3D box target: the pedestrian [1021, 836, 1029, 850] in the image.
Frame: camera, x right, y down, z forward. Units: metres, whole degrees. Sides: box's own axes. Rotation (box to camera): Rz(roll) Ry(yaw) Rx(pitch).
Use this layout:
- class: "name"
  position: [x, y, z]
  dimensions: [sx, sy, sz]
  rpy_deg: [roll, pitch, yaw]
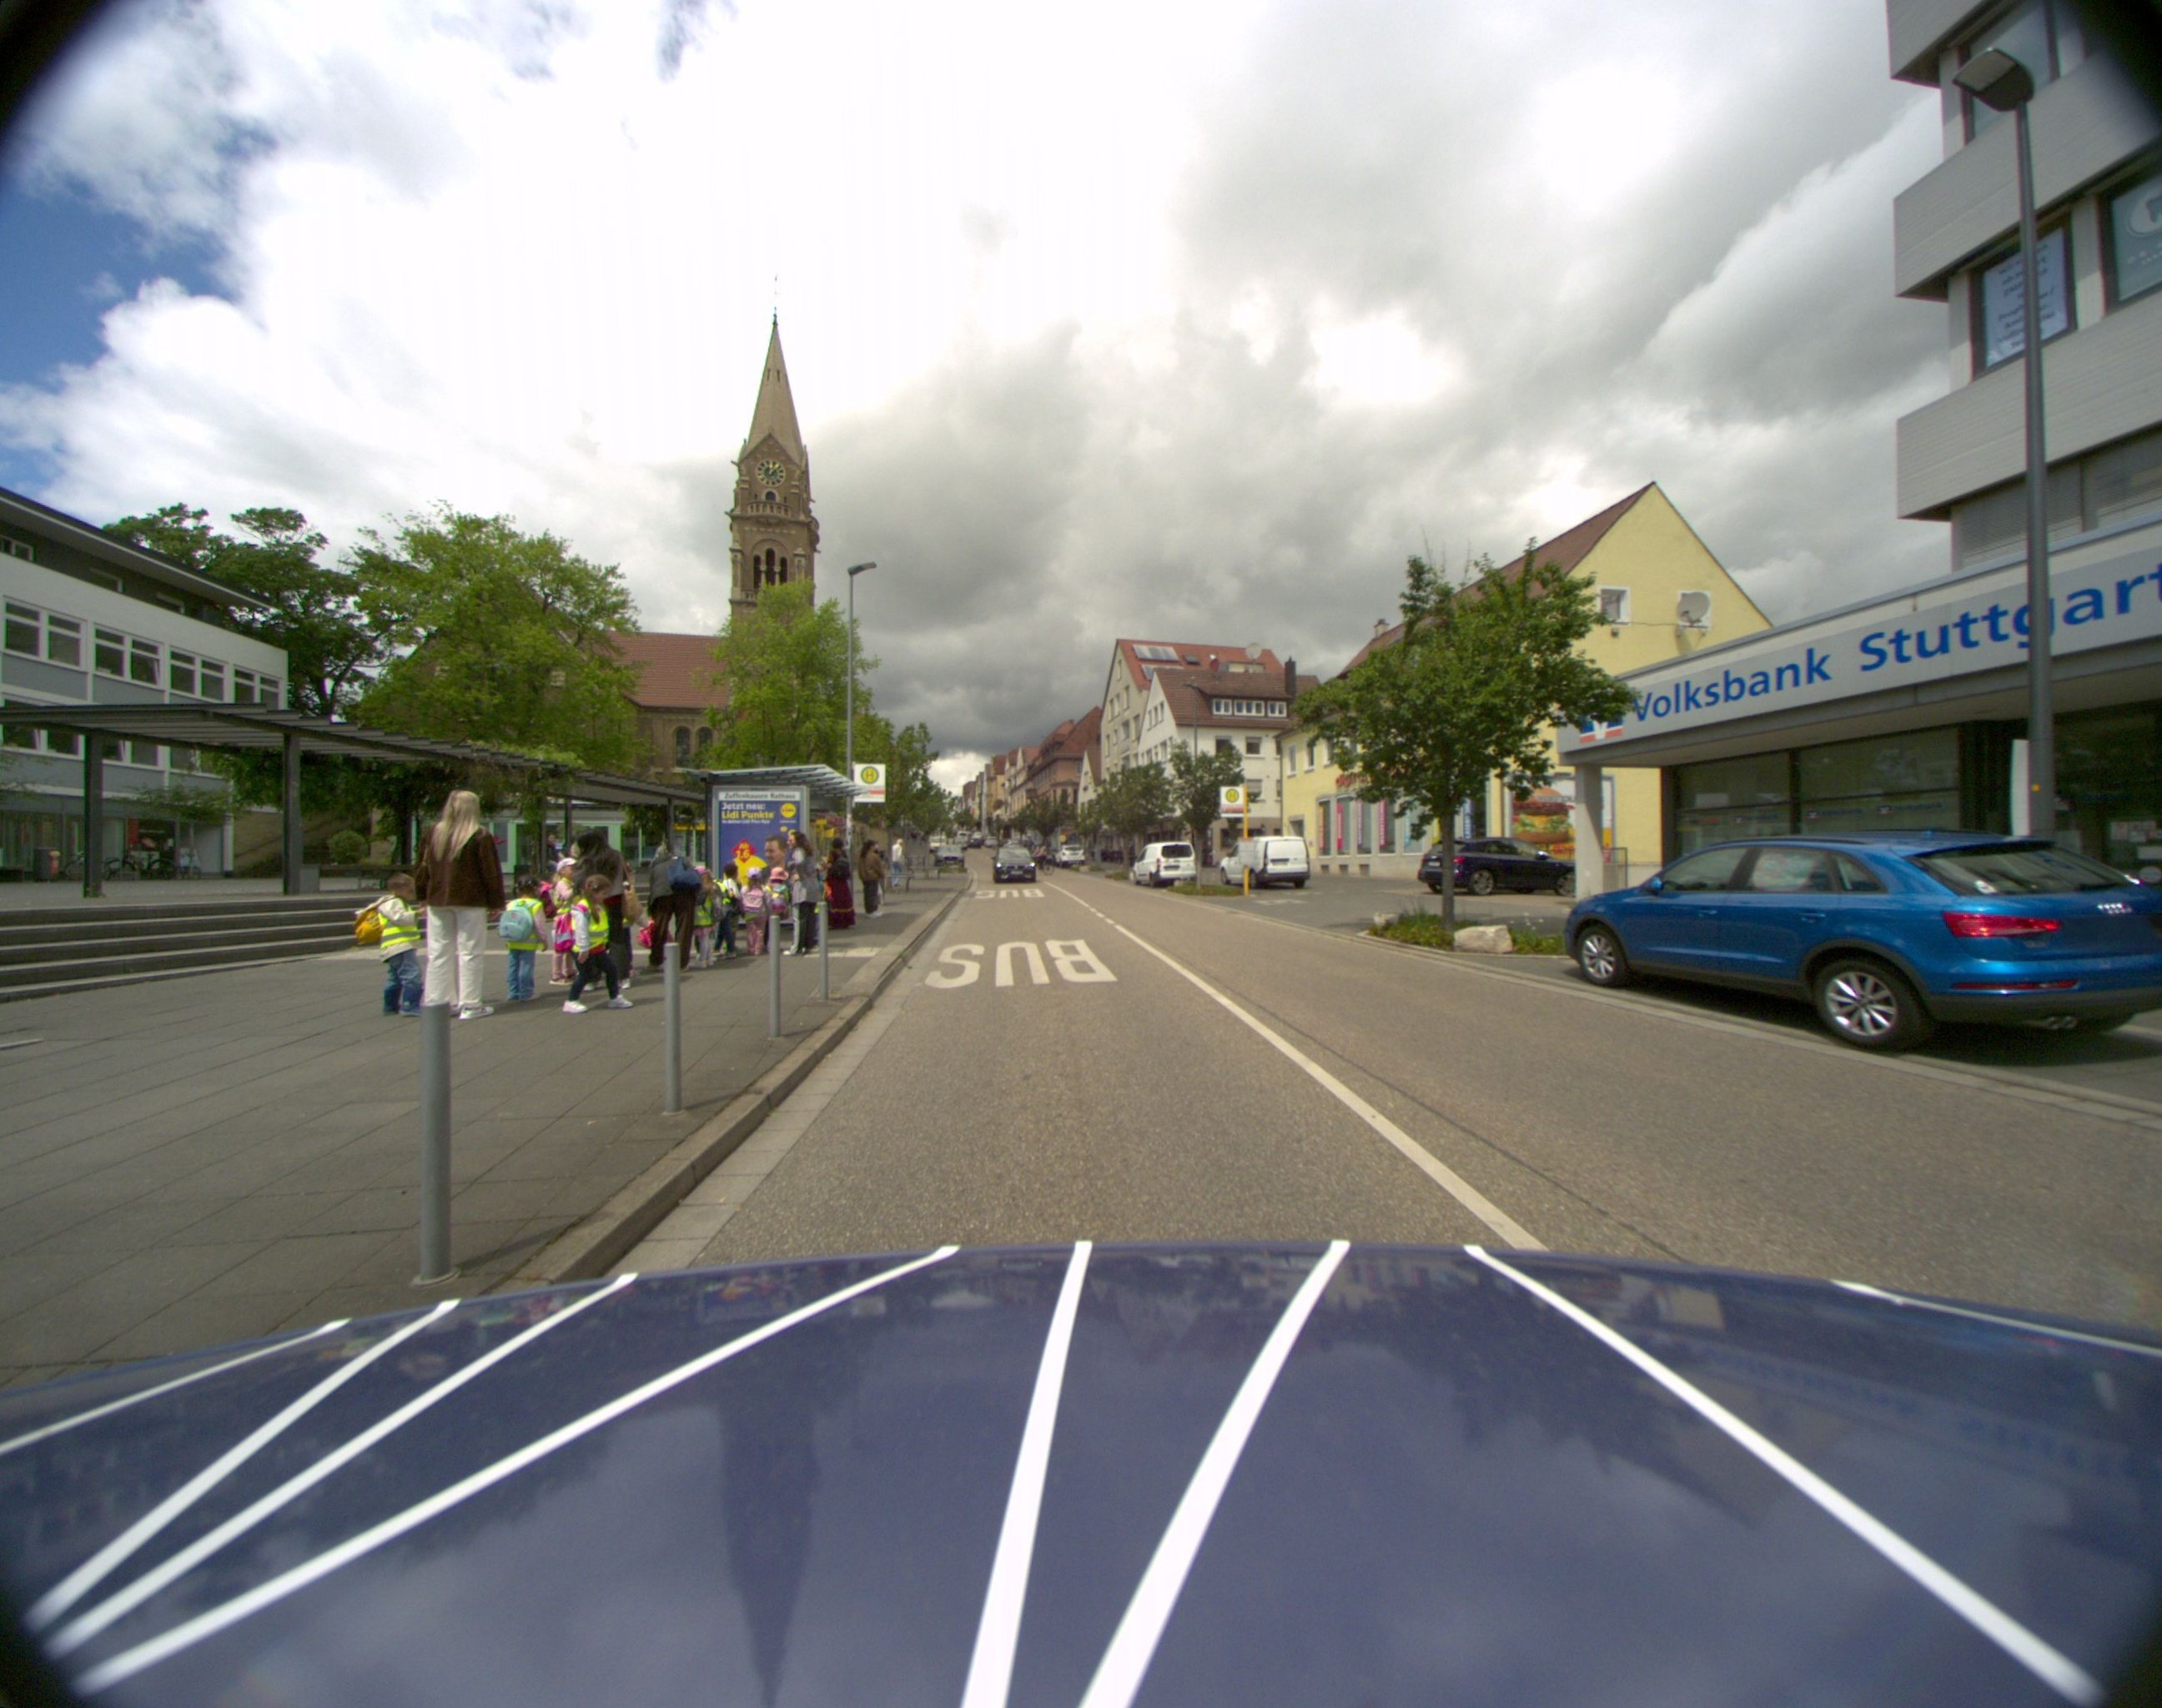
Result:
- class: "pedestrian"
  position: [-6.839, -1.310, 92.548]
  dimensions: [0.873, 1.657, 0.905]
  rpy_deg: [-1, 3, -14]

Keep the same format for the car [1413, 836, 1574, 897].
- class: "car"
  position: [11.371, 0.315, 21.034]
  dimensions: [3.639, 1.549, 1.667]
  rpy_deg: [-1, 1, -8]

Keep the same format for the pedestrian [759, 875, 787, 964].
- class: "pedestrian"
  position: [-4.076, 0.860, 10.039]
  dimensions: [0.294, 1.145, 0.297]
  rpy_deg: [1, 1, -27]

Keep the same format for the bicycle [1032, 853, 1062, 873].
- class: "bicycle"
  position: [-1.895, 0.497, 42.271]
  dimensions: [1.656, 1.082, 0.412]
  rpy_deg: [0, 4, -27]

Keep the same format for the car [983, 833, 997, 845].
- class: "car"
  position: [-13.615, -2.317, 113.656]
  dimensions: [1.734, 1.671, 3.985]
  rpy_deg: [-1, 3, -12]

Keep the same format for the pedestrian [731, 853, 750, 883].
- class: "pedestrian"
  position: [-12.211, 0.511, 27.253]
  dimensions: [0.477, 1.082, 0.368]
  rpy_deg: [0, -1, -3]

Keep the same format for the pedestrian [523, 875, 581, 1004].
- class: "pedestrian"
  position: [-5.200, 0.829, 7.478]
  dimensions: [0.324, 1.231, 0.334]
  rpy_deg: [2, 1, -3]

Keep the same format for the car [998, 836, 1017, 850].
- class: "car"
  position: [-9.083, -1.373, 93.324]
  dimensions: [1.670, 1.518, 3.956]
  rpy_deg: [-2, 3, -14]

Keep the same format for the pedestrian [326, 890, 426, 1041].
- class: "pedestrian"
  position: [-5.609, 0.870, 6.060]
  dimensions: [0.440, 1.142, 0.383]
  rpy_deg: [1, 1, -1]

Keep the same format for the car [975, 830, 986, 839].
- class: "car"
  position: [-17.309, -3.426, 130.951]
  dimensions: [1.692, 1.516, 3.523]
  rpy_deg: [0, 3, -12]

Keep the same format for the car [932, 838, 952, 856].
- class: "car"
  position: [-15.627, -0.856, 85.650]
  dimensions: [1.891, 1.837, 5.024]
  rpy_deg: [1, 2, -8]

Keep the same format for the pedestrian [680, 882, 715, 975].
- class: "pedestrian"
  position: [-4.528, 0.876, 8.975]
  dimensions: [0.252, 1.063, 0.251]
  rpy_deg: [2, 1, 10]

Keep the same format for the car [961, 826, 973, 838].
- class: "car"
  position: [-18.535, -3.548, 123.122]
  dimensions: [1.752, 1.792, 4.206]
  rpy_deg: [1, 2, -11]

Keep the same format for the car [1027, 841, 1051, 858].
- class: "car"
  position: [-3.886, -0.414, 69.855]
  dimensions: [1.663, 1.384, 4.437]
  rpy_deg: [-1, 3, -11]

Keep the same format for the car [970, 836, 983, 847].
- class: "car"
  position: [-14.206, -1.706, 103.038]
  dimensions: [1.612, 1.380, 3.624]
  rpy_deg: [1, 1, -11]

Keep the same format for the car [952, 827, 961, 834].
- class: "car"
  position: [-27.152, -5.044, 165.058]
  dimensions: [1.688, 1.492, 4.147]
  rpy_deg: [0, 2, -13]

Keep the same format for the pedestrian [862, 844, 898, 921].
- class: "pedestrian"
  position: [-4.131, 0.573, 15.643]
  dimensions: [0.513, 1.540, 0.488]
  rpy_deg: [1, 1, 20]

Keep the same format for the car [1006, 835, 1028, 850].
- class: "car"
  position: [-7.290, -1.289, 86.283]
  dimensions: [1.731, 1.565, 4.447]
  rpy_deg: [-1, 3, -14]

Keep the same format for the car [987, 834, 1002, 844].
- class: "car"
  position: [-12.097, -2.122, 106.649]
  dimensions: [1.734, 1.423, 3.497]
  rpy_deg: [-1, 3, -12]

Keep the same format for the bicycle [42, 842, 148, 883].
- class: "bicycle"
  position: [-32.769, 0.292, 25.309]
  dimensions: [2.031, 1.300, 0.686]
  rpy_deg: [2, 0, -40]

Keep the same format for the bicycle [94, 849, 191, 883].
- class: "bicycle"
  position: [-32.978, 0.433, 26.740]
  dimensions: [2.032, 1.135, 0.686]
  rpy_deg: [3, -1, -40]

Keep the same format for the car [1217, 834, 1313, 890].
- class: "car"
  position: [6.527, 0.217, 27.529]
  dimensions: [1.762, 1.803, 4.472]
  rpy_deg: [-2, 1, -9]

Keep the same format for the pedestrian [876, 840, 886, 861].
- class: "pedestrian"
  position: [-14.878, -0.244, 56.580]
  dimensions: [0.590, 1.515, 0.584]
  rpy_deg: [1, 1, 2]

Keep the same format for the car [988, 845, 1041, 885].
- class: "car"
  position: [-3.048, 0.449, 34.420]
  dimensions: [1.896, 1.516, 3.729]
  rpy_deg: [-2, 3, -12]

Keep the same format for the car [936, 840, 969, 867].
- class: "car"
  position: [-8.827, -0.069, 51.985]
  dimensions: [1.935, 1.714, 4.567]
  rpy_deg: [1, 1, -13]

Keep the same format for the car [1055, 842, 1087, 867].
- class: "car"
  position: [-0.764, -0.007, 54.033]
  dimensions: [1.671, 1.637, 4.129]
  rpy_deg: [-2, 2, -9]

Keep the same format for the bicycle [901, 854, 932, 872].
- class: "bicycle"
  position: [-9.612, 0.524, 44.448]
  dimensions: [1.733, 0.990, 0.345]
  rpy_deg: [1, 1, -15]

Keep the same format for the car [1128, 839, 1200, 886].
- class: "car"
  position: [3.198, 0.285, 30.175]
  dimensions: [1.662, 1.662, 4.346]
  rpy_deg: [-2, 1, -10]

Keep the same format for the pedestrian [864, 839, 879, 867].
- class: "pedestrian"
  position: [-12.756, -0.062, 46.284]
  dimensions: [0.762, 1.721, 0.597]
  rpy_deg: [2, 1, -8]

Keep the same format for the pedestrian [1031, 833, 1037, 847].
- class: "pedestrian"
  position: [-5.594, -1.670, 91.252]
  dimensions: [0.616, 1.573, 0.641]
  rpy_deg: [-1, 3, -14]

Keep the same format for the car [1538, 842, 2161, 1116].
- class: "car"
  position: [6.421, 0.736, 6.863]
  dimensions: [1.699, 1.590, 4.329]
  rpy_deg: [-3, 1, -4]
